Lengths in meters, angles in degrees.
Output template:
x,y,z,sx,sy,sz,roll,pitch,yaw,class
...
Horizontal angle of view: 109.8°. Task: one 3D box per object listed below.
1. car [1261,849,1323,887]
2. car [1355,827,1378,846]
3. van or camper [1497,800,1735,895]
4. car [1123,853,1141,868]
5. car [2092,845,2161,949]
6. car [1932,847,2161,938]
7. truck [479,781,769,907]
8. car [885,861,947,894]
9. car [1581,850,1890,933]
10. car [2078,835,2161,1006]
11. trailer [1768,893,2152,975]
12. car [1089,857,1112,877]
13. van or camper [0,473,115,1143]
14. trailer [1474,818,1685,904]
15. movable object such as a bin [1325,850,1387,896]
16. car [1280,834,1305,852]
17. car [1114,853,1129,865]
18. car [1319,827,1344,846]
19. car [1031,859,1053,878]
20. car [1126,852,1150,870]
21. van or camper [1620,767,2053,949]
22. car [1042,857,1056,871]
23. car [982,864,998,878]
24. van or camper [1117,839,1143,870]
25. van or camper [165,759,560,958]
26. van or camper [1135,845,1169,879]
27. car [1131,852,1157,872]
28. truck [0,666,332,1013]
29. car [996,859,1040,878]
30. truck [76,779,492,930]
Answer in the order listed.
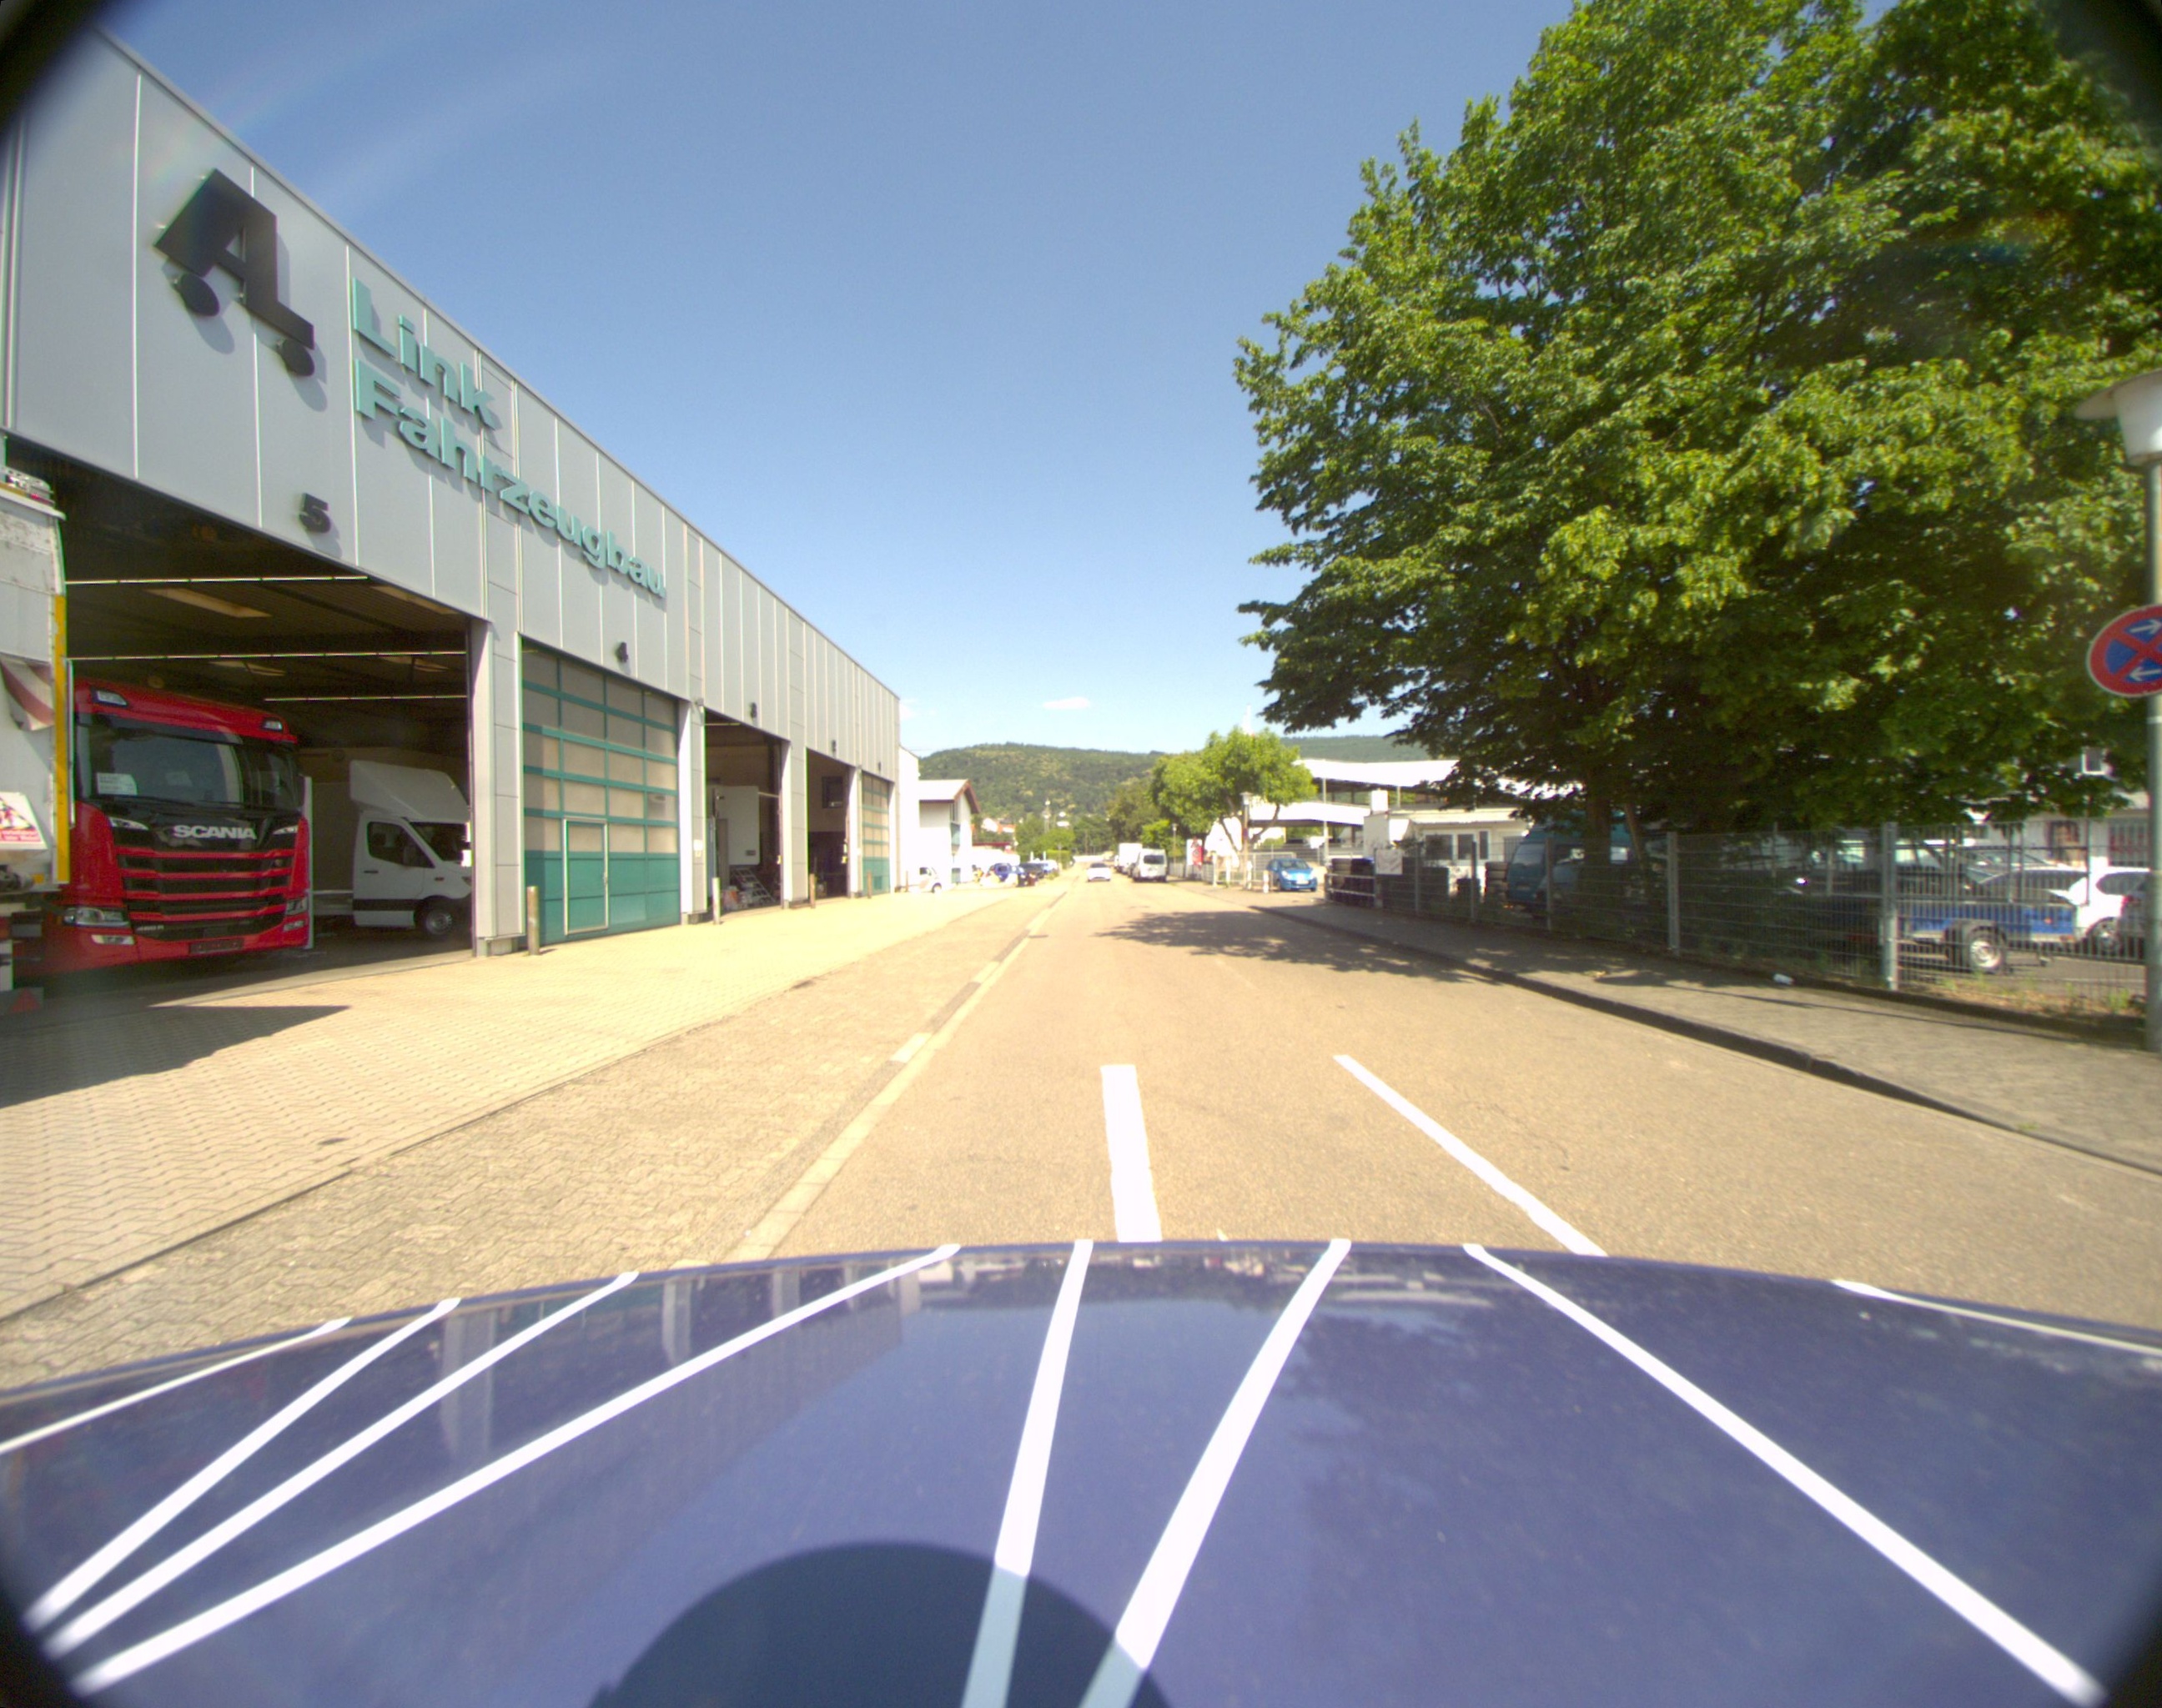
x,y,z,sx,sy,sz,roll,pitch,yaw,class
9.210,0.571,33.453,1.644,1.449,3.524,-4,1,0,car
24.440,-1.485,64.942,1.706,1.449,3.530,-3,1,22,car
12.315,-0.143,17.710,4.192,1.853,1.774,-4,1,3,van or camper
5.369,0.657,79.893,1.708,1.449,3.525,-1,0,1,car
16.927,0.564,10.465,3.782,1.444,1.685,-1,0,0,car
17.073,0.595,12.763,3.634,1.370,1.731,-1,0,-1,car
-14.664,-0.295,24.782,7.854,3.760,2.625,-1,0,2,truck
-8.383,1.182,38.707,1.309,1.524,2.829,-3,-1,44,car
11.707,0.647,13.838,3.924,1.378,1.860,-1,0,4,car
11.026,0.589,6.286,3.386,1.476,1.517,0,1,3,car
11.806,1.059,10.397,3.289,0.934,1.613,-1,0,3,trailer
1.511,1.021,60.159,1.736,1.521,4.109,-1,0,1,car
-11.613,-0.200,2.674,11.635,3.671,2.779,-1,0,-6,van or camper
14.550,0.195,22.385,4.781,2.143,2.000,-4,1,1,trailer
9.010,0.583,25.020,1.383,1.350,2.104,-3,1,6,movable object such as a bin
18.339,-0.968,65.868,1.705,1.449,3.531,1,-1,22,car
5.844,0.662,109.368,1.708,1.564,3.524,-4,1,-2,car
21.504,-1.523,65.085,1.706,1.449,3.530,-3,1,22,car
-3.387,1.247,65.231,1.453,1.487,3.184,-4,1,-10,car
5.163,0.608,68.769,1.708,1.449,3.524,-4,1,-2,car
11.358,0.045,11.733,4.666,2.562,1.846,0,1,3,van or camper
-3.581,1.081,85.131,1.452,1.371,3.186,-4,1,-2,car
-10.226,1.907,85.679,1.452,1.371,3.186,-4,1,-2,car
5.487,0.013,85.848,2.525,3.350,5.591,-1,0,0,van or camper
-12.755,0.065,13.790,5.055,3.187,1.999,-2,1,-1,van or camper
5.105,0.517,55.210,2.028,2.363,4.685,0,1,0,van or camper
5.144,0.654,62.247,1.708,1.449,3.524,-4,1,-2,car
-13.863,-0.082,8.805,7.969,3.384,2.480,-1,1,2,truck
-4.481,1.016,54.213,2.975,1.332,1.453,-1,0,2,car
-19.811,0.012,19.250,7.572,3.439,2.769,-1,0,1,truck
